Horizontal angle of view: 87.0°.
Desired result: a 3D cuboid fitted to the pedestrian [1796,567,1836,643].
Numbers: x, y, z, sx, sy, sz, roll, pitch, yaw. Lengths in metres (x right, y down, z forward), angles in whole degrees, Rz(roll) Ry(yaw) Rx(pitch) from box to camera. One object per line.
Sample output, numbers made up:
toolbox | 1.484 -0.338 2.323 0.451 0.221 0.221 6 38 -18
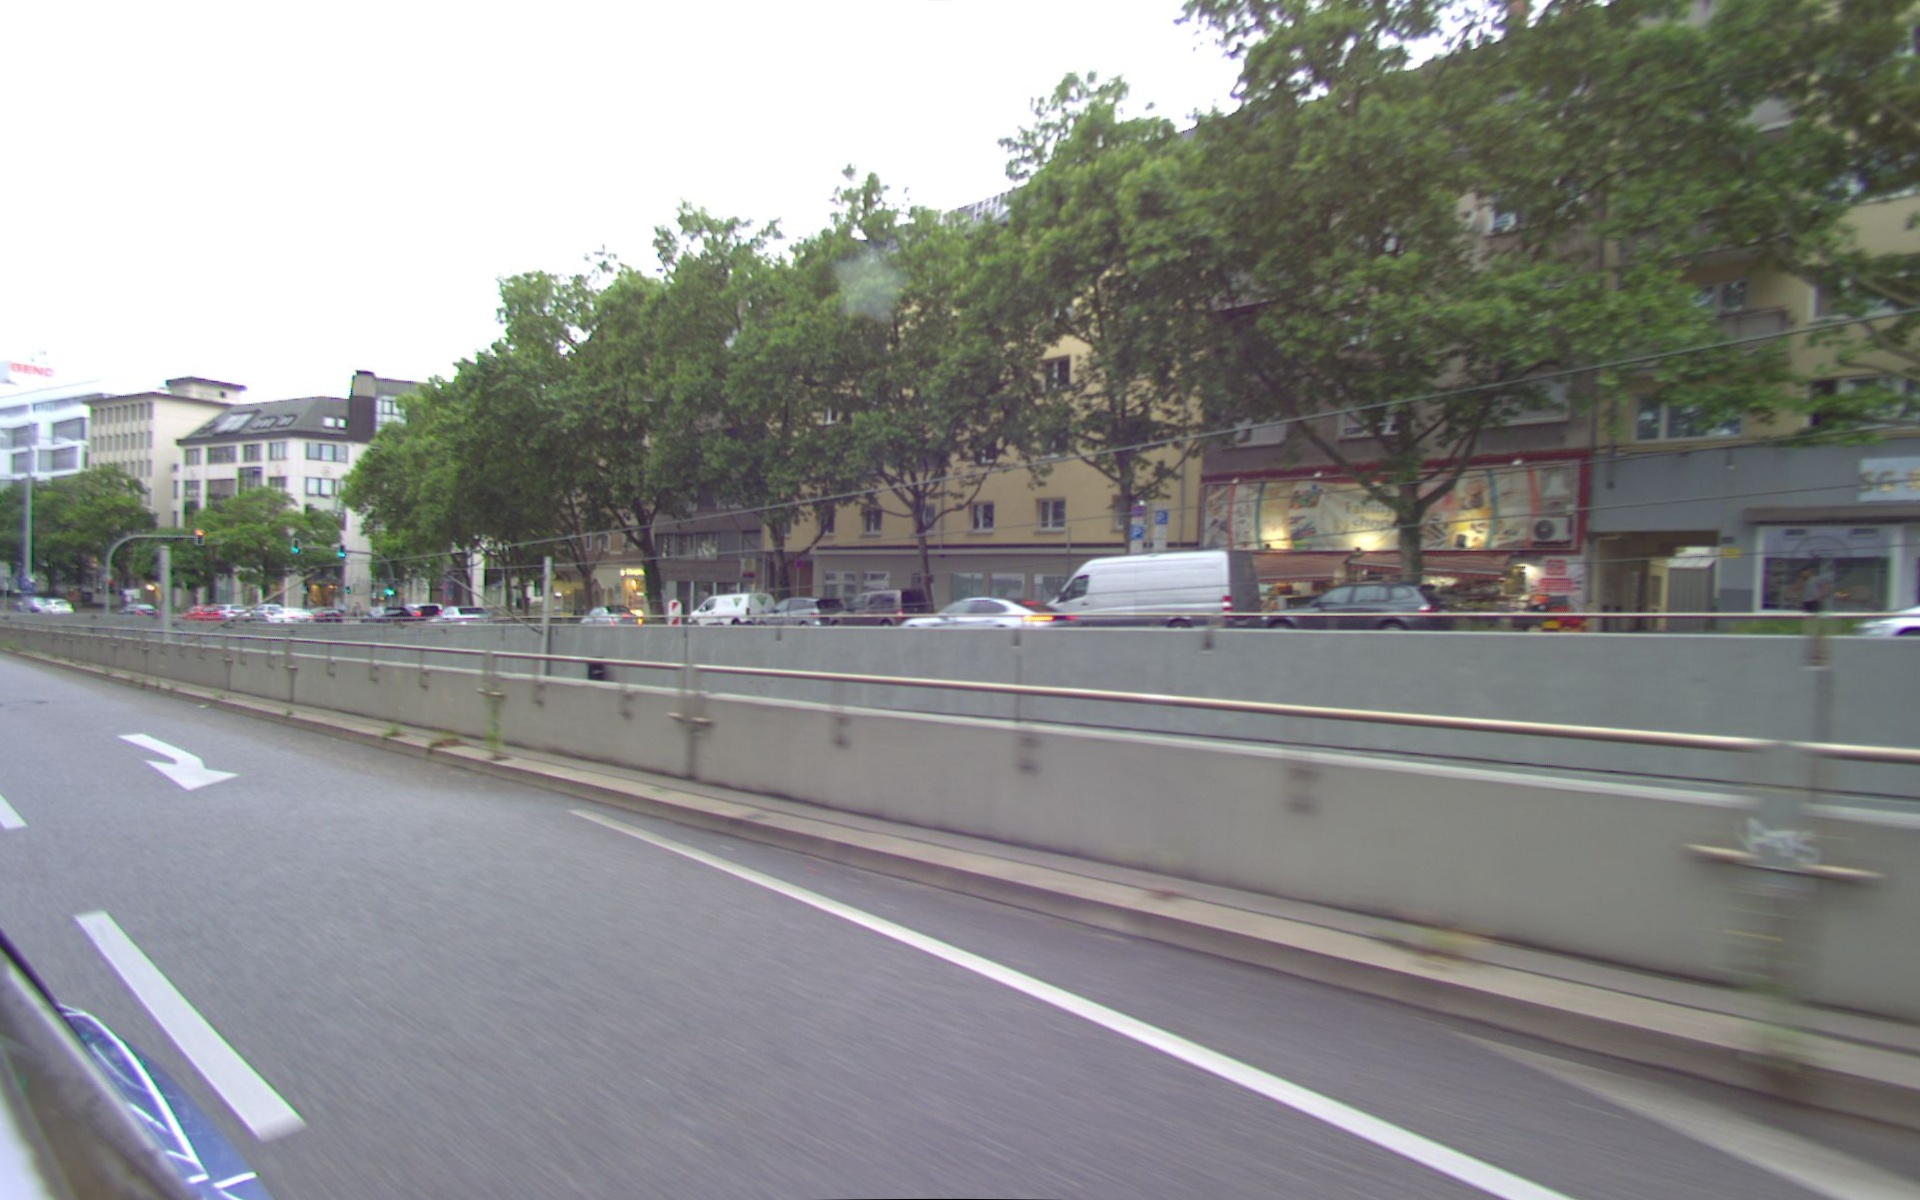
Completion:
pedestrian | 20.408 0.111 24.120 0.516 1.761 0.622 -4 2 -39

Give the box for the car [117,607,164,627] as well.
car | -68.249 1.413 84.215 4.824 1.569 1.779 0 0 35

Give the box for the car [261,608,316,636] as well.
car | -45.342 1.433 68.283 4.727 1.783 1.776 0 0 39

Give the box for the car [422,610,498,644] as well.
car | -24.238 1.267 48.971 1.825 1.522 4.823 -1 0 -45

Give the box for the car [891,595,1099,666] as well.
car | 0.742 0.689 24.307 4.883 1.522 2.004 -1 0 43

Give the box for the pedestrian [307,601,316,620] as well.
pedestrian | -62.762 1.027 97.935 0.525 1.798 0.597 0 1 34

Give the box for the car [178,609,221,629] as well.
car | -58.309 1.429 77.604 3.872 1.411 1.571 0 0 36

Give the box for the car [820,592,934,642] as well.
car | -3.115 0.632 37.400 4.204 1.742 1.775 -1 0 41

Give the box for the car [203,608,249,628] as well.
car | -60.173 1.468 82.920 3.988 1.522 1.780 0 0 33

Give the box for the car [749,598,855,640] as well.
car | -6.430 0.759 40.889 4.472 1.595 1.857 -1 0 42

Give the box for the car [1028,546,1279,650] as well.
car | 5.424 -0.010 29.349 6.932 2.682 2.425 -1 0 44

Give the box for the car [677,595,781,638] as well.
car | -10.199 0.733 44.564 4.896 1.778 1.858 -1 0 40

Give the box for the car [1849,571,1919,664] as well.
car | 17.912 0.265 17.135 4.209 1.583 1.774 -1 0 44

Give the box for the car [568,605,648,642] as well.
car | -15.839 1.035 45.437 1.825 1.522 4.019 -1 0 -44

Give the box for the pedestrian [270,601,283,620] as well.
pedestrian | -67.675 1.051 100.201 0.614 1.798 0.825 0 1 34

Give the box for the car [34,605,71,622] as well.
car | -83.999 1.246 93.673 3.991 1.573 1.778 0 0 36

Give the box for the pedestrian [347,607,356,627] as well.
pedestrian | -56.708 1.579 94.281 0.582 1.822 0.675 -1 1 -42

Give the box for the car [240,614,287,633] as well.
car | -59.480 1.962 86.450 3.926 1.521 1.782 0 1 30

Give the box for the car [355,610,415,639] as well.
car | -32.584 1.377 57.308 4.346 1.522 1.774 0 0 44

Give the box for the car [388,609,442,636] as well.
car | -33.786 1.374 62.737 4.017 1.592 1.774 -1 0 44

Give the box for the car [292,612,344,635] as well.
car | -46.494 1.656 73.304 3.990 1.521 1.779 0 1 35

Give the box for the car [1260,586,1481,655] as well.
car | 9.907 0.474 24.708 4.672 1.522 1.774 -1 0 44
